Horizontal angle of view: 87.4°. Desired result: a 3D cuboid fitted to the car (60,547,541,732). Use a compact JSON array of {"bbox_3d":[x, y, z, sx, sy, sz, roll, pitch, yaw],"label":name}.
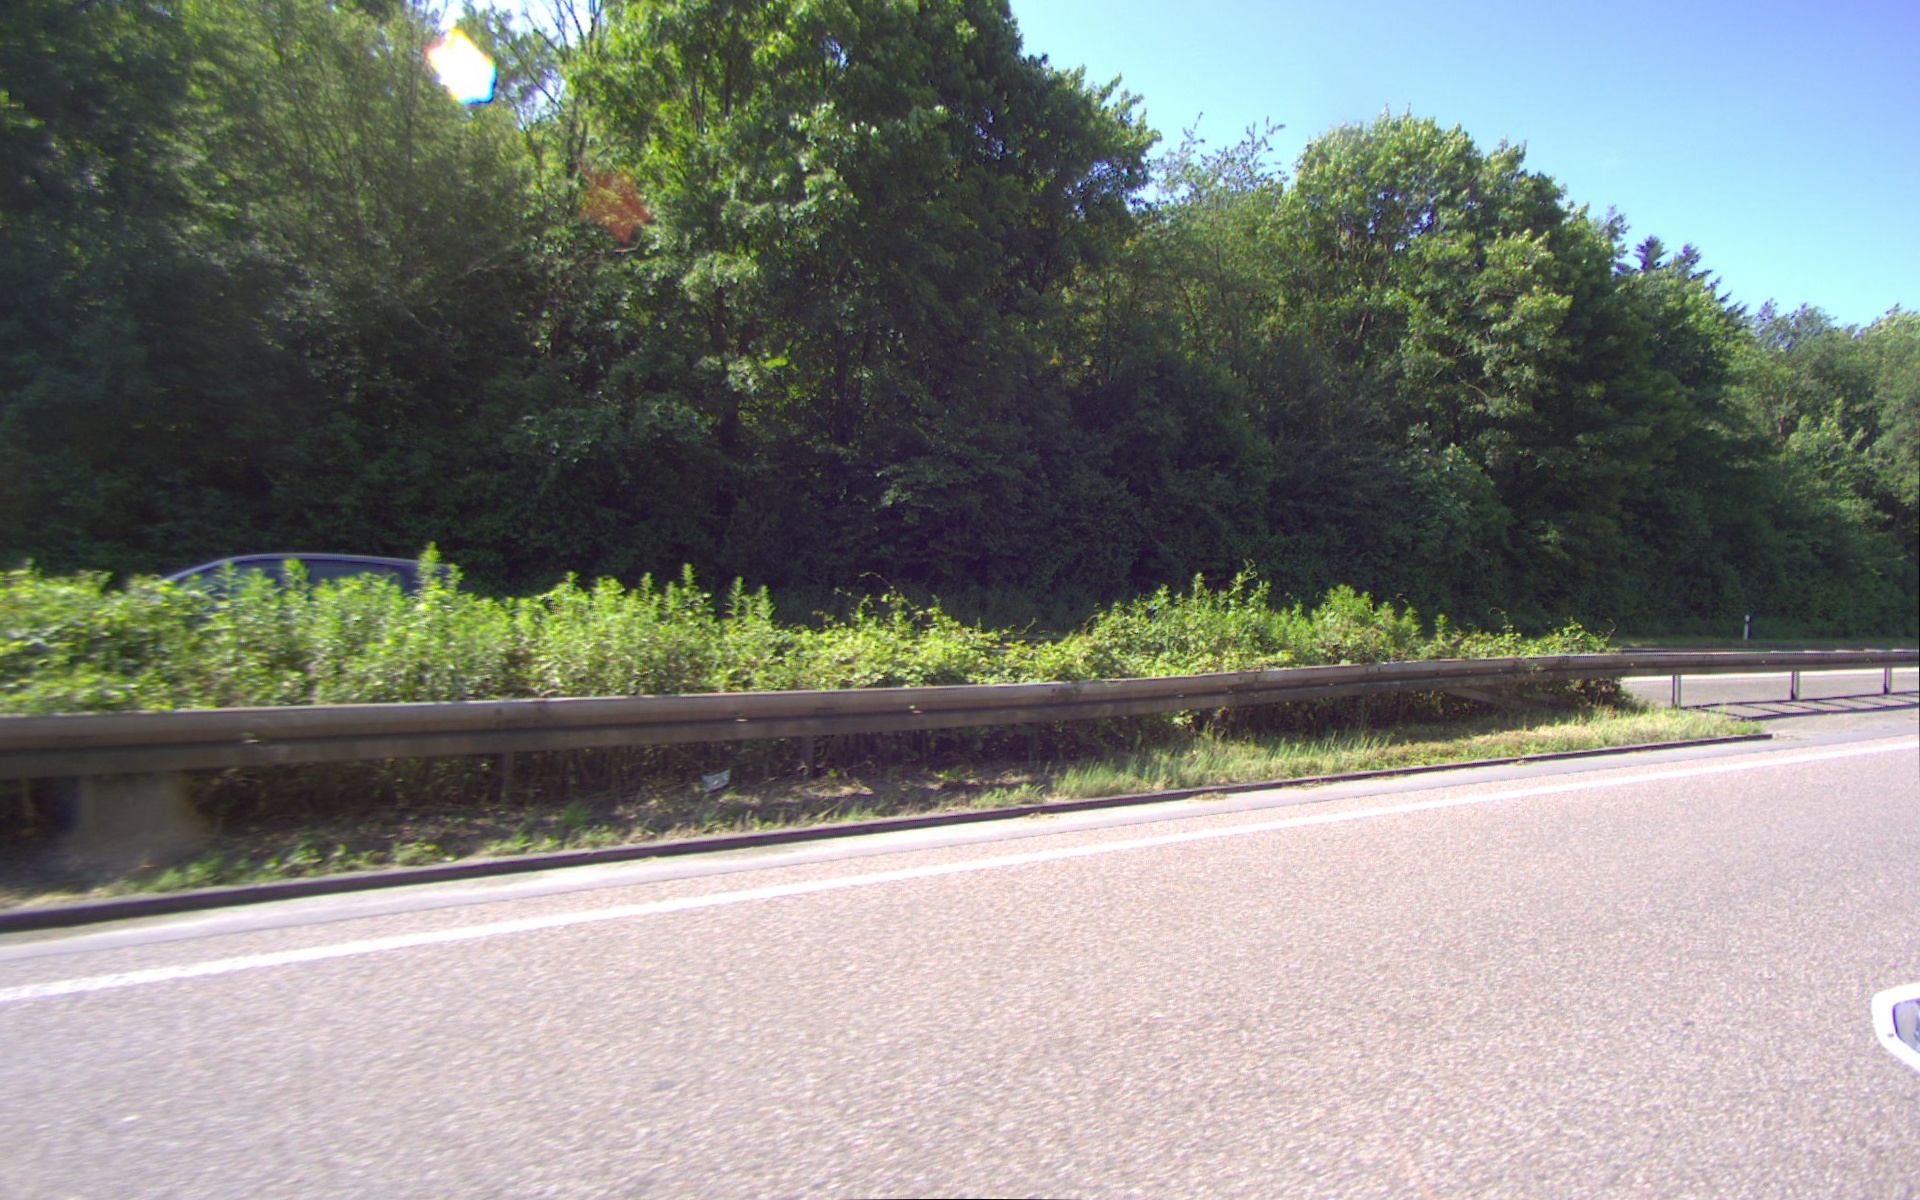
[{"bbox_3d":[-6.068,0.336,9.704,3.578,1.493,1.665,1,1,-29],"label":"car"}]
